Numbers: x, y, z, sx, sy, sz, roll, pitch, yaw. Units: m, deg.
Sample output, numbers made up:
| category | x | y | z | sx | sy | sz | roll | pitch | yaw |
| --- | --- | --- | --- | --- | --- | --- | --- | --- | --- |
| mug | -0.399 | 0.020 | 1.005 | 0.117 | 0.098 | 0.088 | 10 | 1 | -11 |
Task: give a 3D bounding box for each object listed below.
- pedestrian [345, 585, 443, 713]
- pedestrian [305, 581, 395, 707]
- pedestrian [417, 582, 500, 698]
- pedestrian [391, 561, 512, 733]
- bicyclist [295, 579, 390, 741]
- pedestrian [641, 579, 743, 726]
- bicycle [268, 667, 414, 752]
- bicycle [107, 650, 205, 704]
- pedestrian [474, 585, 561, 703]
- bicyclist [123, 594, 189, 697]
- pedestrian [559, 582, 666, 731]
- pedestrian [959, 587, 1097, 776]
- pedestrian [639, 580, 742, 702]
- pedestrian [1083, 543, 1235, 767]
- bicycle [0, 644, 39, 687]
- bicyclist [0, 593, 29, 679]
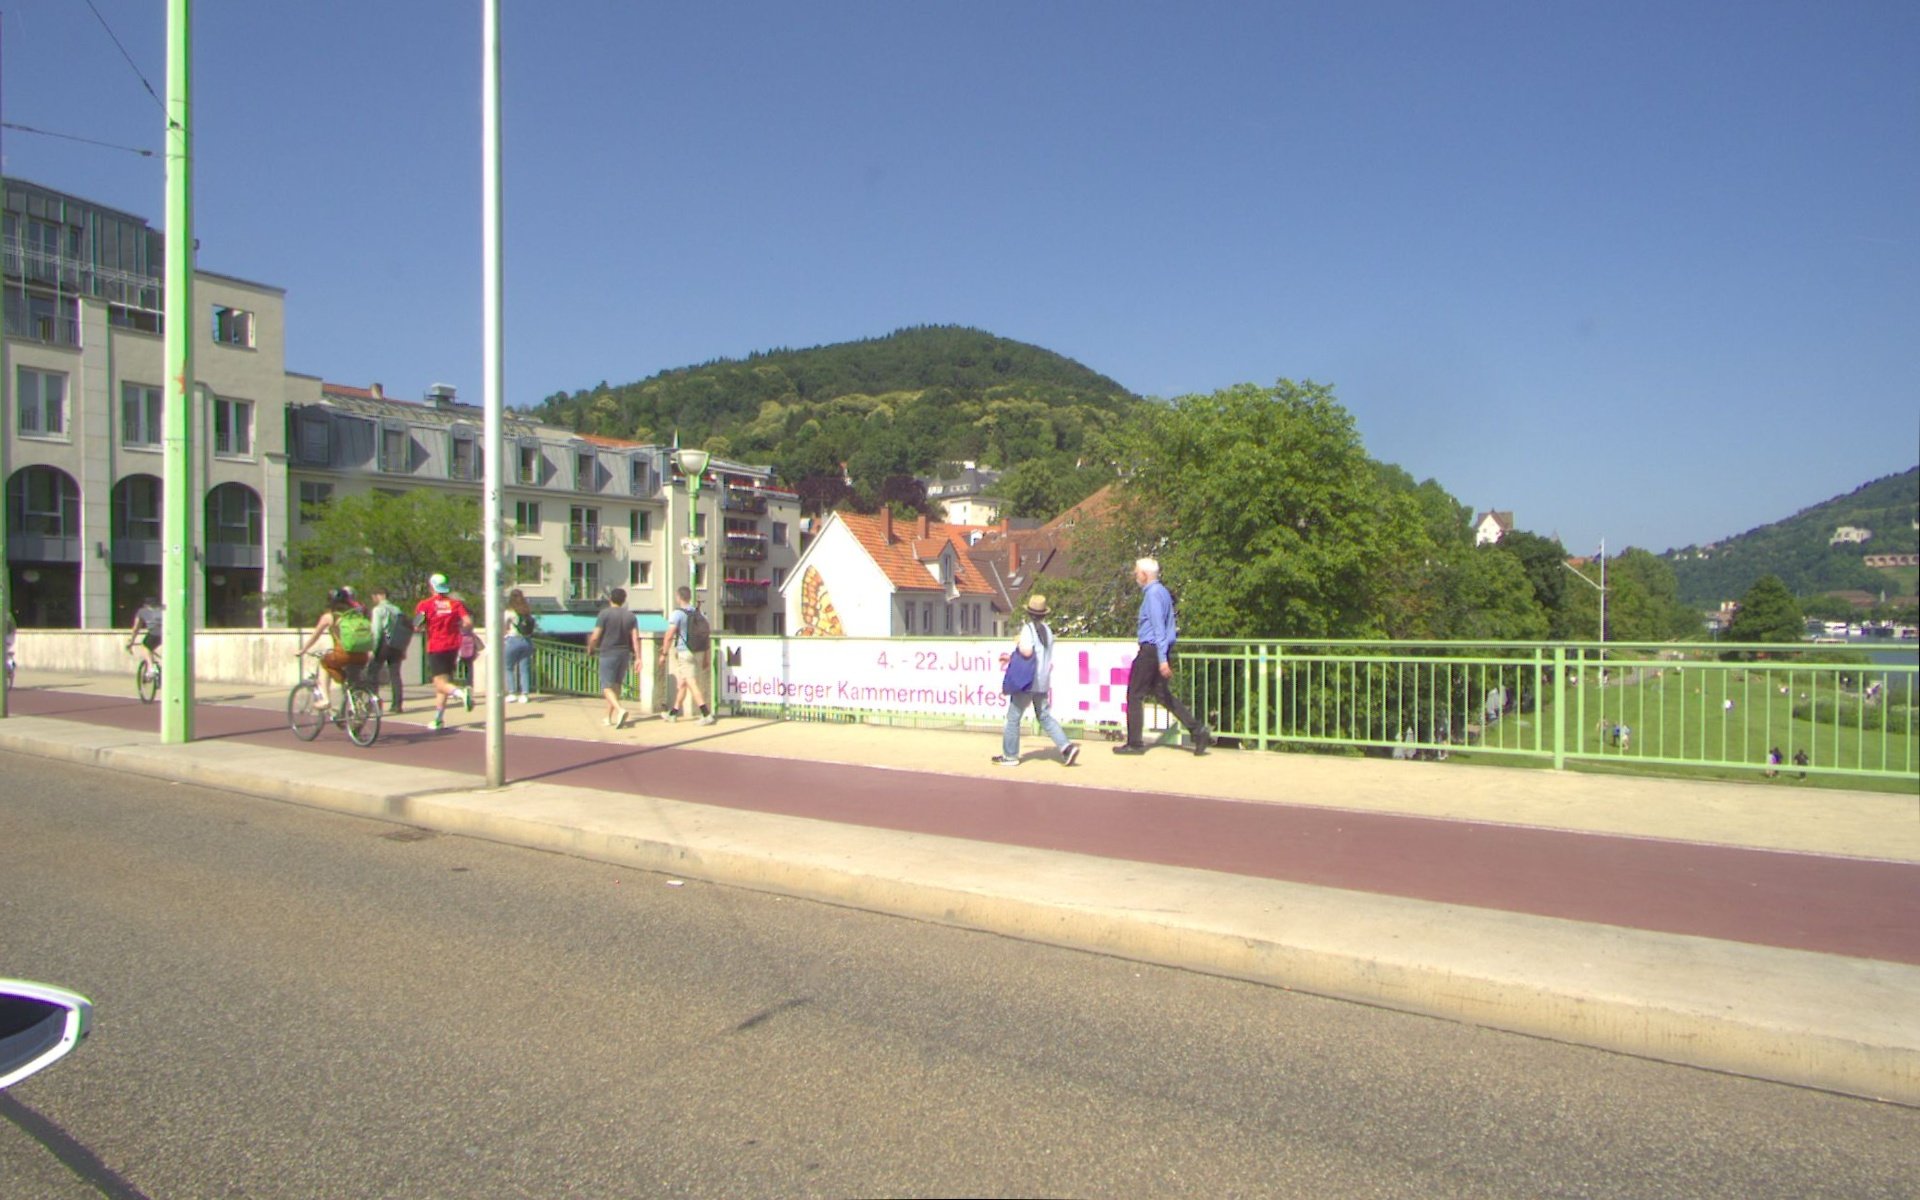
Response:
| category | x | y | z | sx | sy | sz | roll | pitch | yaw |
| --- | --- | --- | --- | --- | --- | --- | --- | --- | --- |
| pedestrian | -8.036 | 0.667 | 14.218 | 1.058 | 1.741 | 0.753 | 0 | 1 | 32 |
| pedestrian | -9.178 | 0.634 | 15.071 | 1.001 | 1.826 | 0.737 | 0 | 1 | 32 |
| pedestrian | -8.050 | 0.615 | 16.090 | 1.001 | 1.801 | 0.737 | 0 | 1 | 32 |
| pedestrian | -6.109 | 0.542 | 12.035 | 1.111 | 1.950 | 0.809 | 0 | 1 | 32 |
| bicyclist | -6.645 | 0.626 | 10.779 | 0.692 | 1.672 | 0.603 | 0 | 1 | 33 |
| pedestrian | -3.330 | 0.630 | 12.470 | 1.001 | 1.741 | 0.738 | 0 | 0 | 32 |
| bicycle | -6.708 | 1.150 | 10.827 | 1.840 | 0.776 | 0.592 | -1 | 1 | 33 |
| bicycle | -12.724 | 1.196 | 15.837 | 1.804 | 0.776 | 0.593 | -1 | 1 | 30 |
| pedestrian | -6.849 | 0.659 | 15.507 | 1.000 | 1.770 | 0.738 | 0 | 1 | 29 |
| bicyclist | -12.668 | 0.705 | 15.779 | 0.691 | 1.579 | 0.586 | 0 | 1 | 30 |
| pedestrian | -4.243 | 0.663 | 12.247 | 1.001 | 1.741 | 0.737 | 0 | 1 | 32 |
| pedestrian | 0.611 | 0.672 | 8.823 | 0.919 | 1.550 | 0.827 | 0 | 1 | 32 |
| pedestrian | -4.167 | 0.602 | 15.568 | 0.965 | 1.801 | 1.202 | 0 | 1 | 27 |
| pedestrian | 1.851 | 0.477 | 9.276 | 1.121 | 1.923 | 0.924 | 0 | 1 | 32 |
| bicycle | -18.933 | 1.270 | 19.748 | 1.838 | 0.776 | 0.593 | -1 | 1 | 30 |
| bicyclist | -18.857 | 0.701 | 19.691 | 0.691 | 1.672 | 0.586 | 0 | 1 | 30 |
